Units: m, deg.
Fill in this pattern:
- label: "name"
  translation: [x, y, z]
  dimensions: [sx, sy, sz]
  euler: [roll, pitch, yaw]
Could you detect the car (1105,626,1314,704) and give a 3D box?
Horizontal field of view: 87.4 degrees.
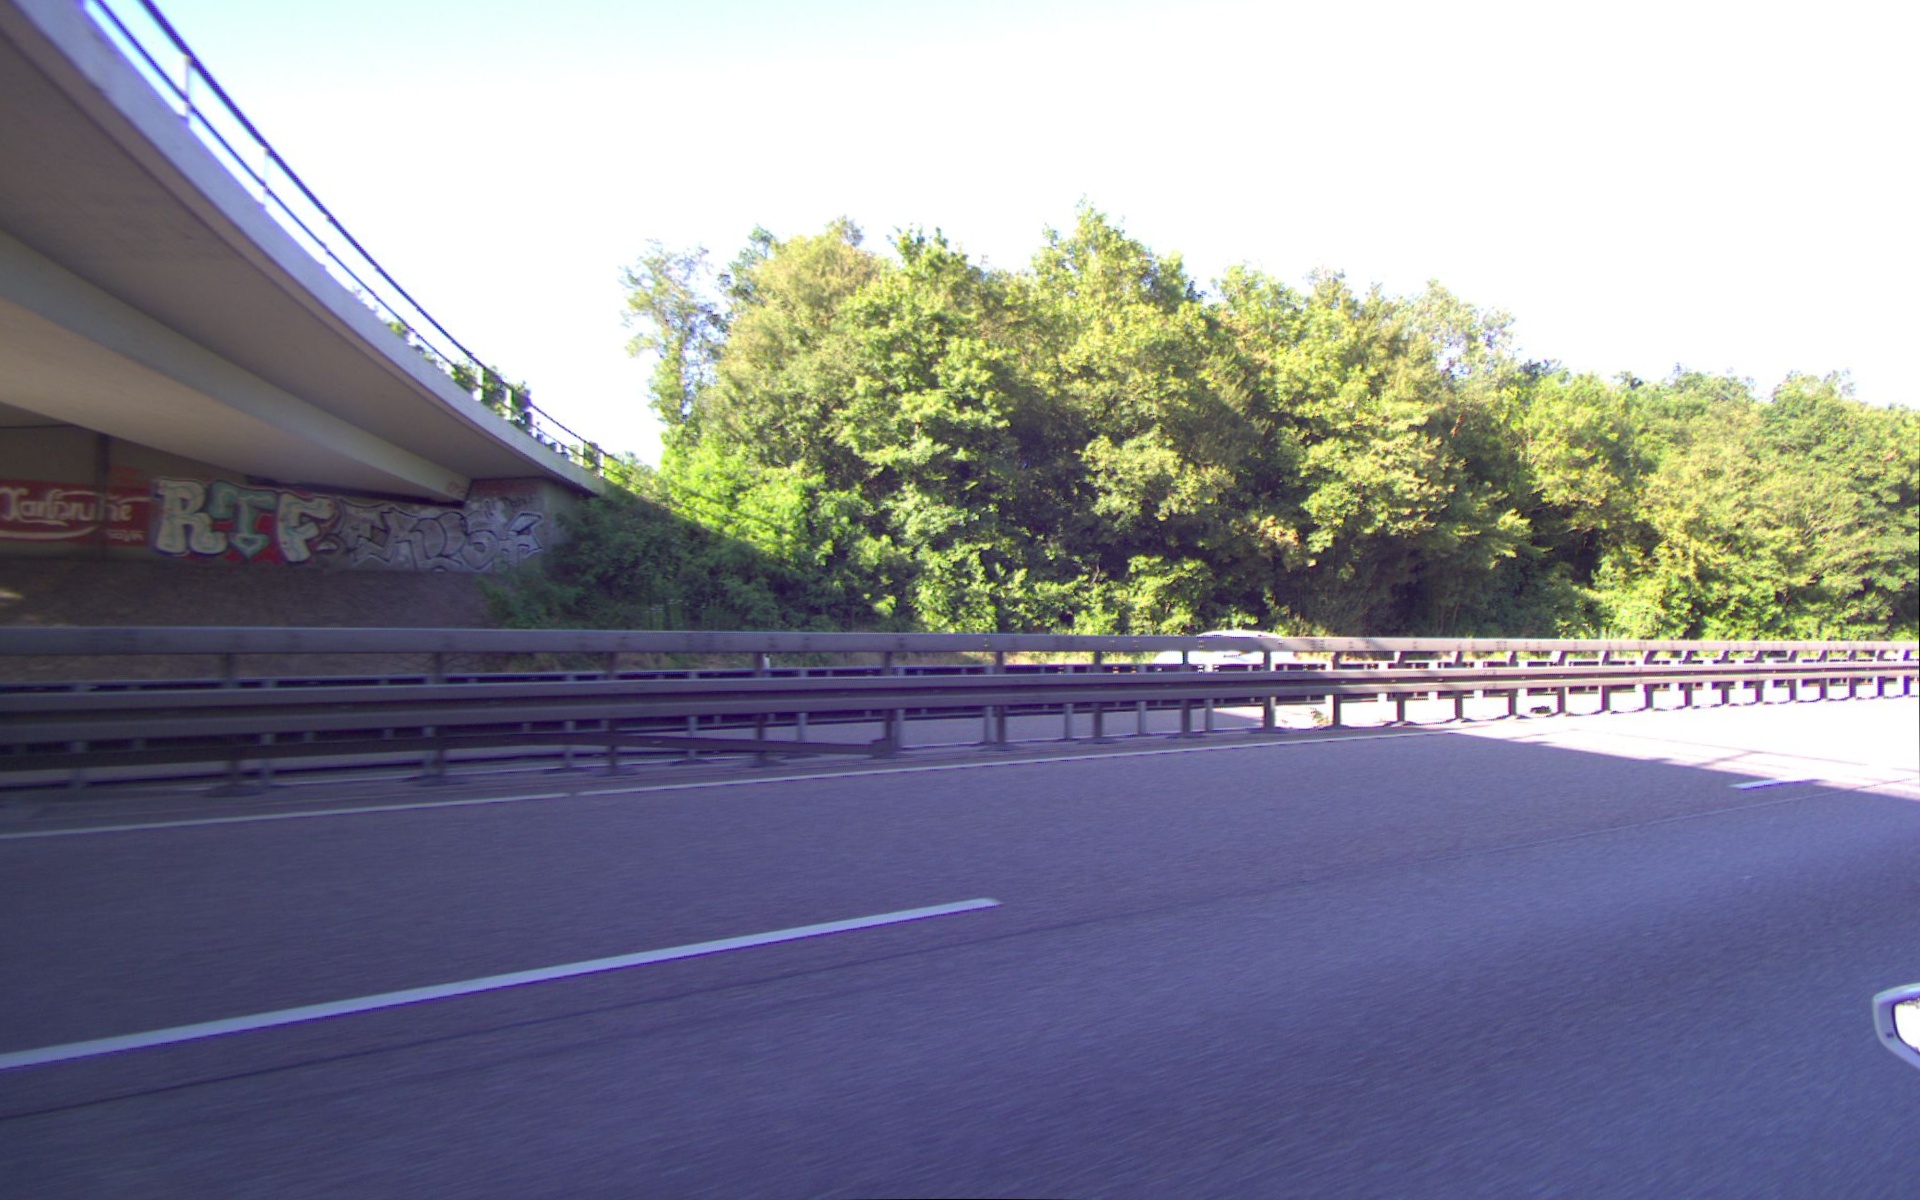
- label: "car"
  translation: [5.910, 1.473, 23.702]
  dimensions: [4.669, 1.615, 1.985]
  euler: [1, 0, -28]
